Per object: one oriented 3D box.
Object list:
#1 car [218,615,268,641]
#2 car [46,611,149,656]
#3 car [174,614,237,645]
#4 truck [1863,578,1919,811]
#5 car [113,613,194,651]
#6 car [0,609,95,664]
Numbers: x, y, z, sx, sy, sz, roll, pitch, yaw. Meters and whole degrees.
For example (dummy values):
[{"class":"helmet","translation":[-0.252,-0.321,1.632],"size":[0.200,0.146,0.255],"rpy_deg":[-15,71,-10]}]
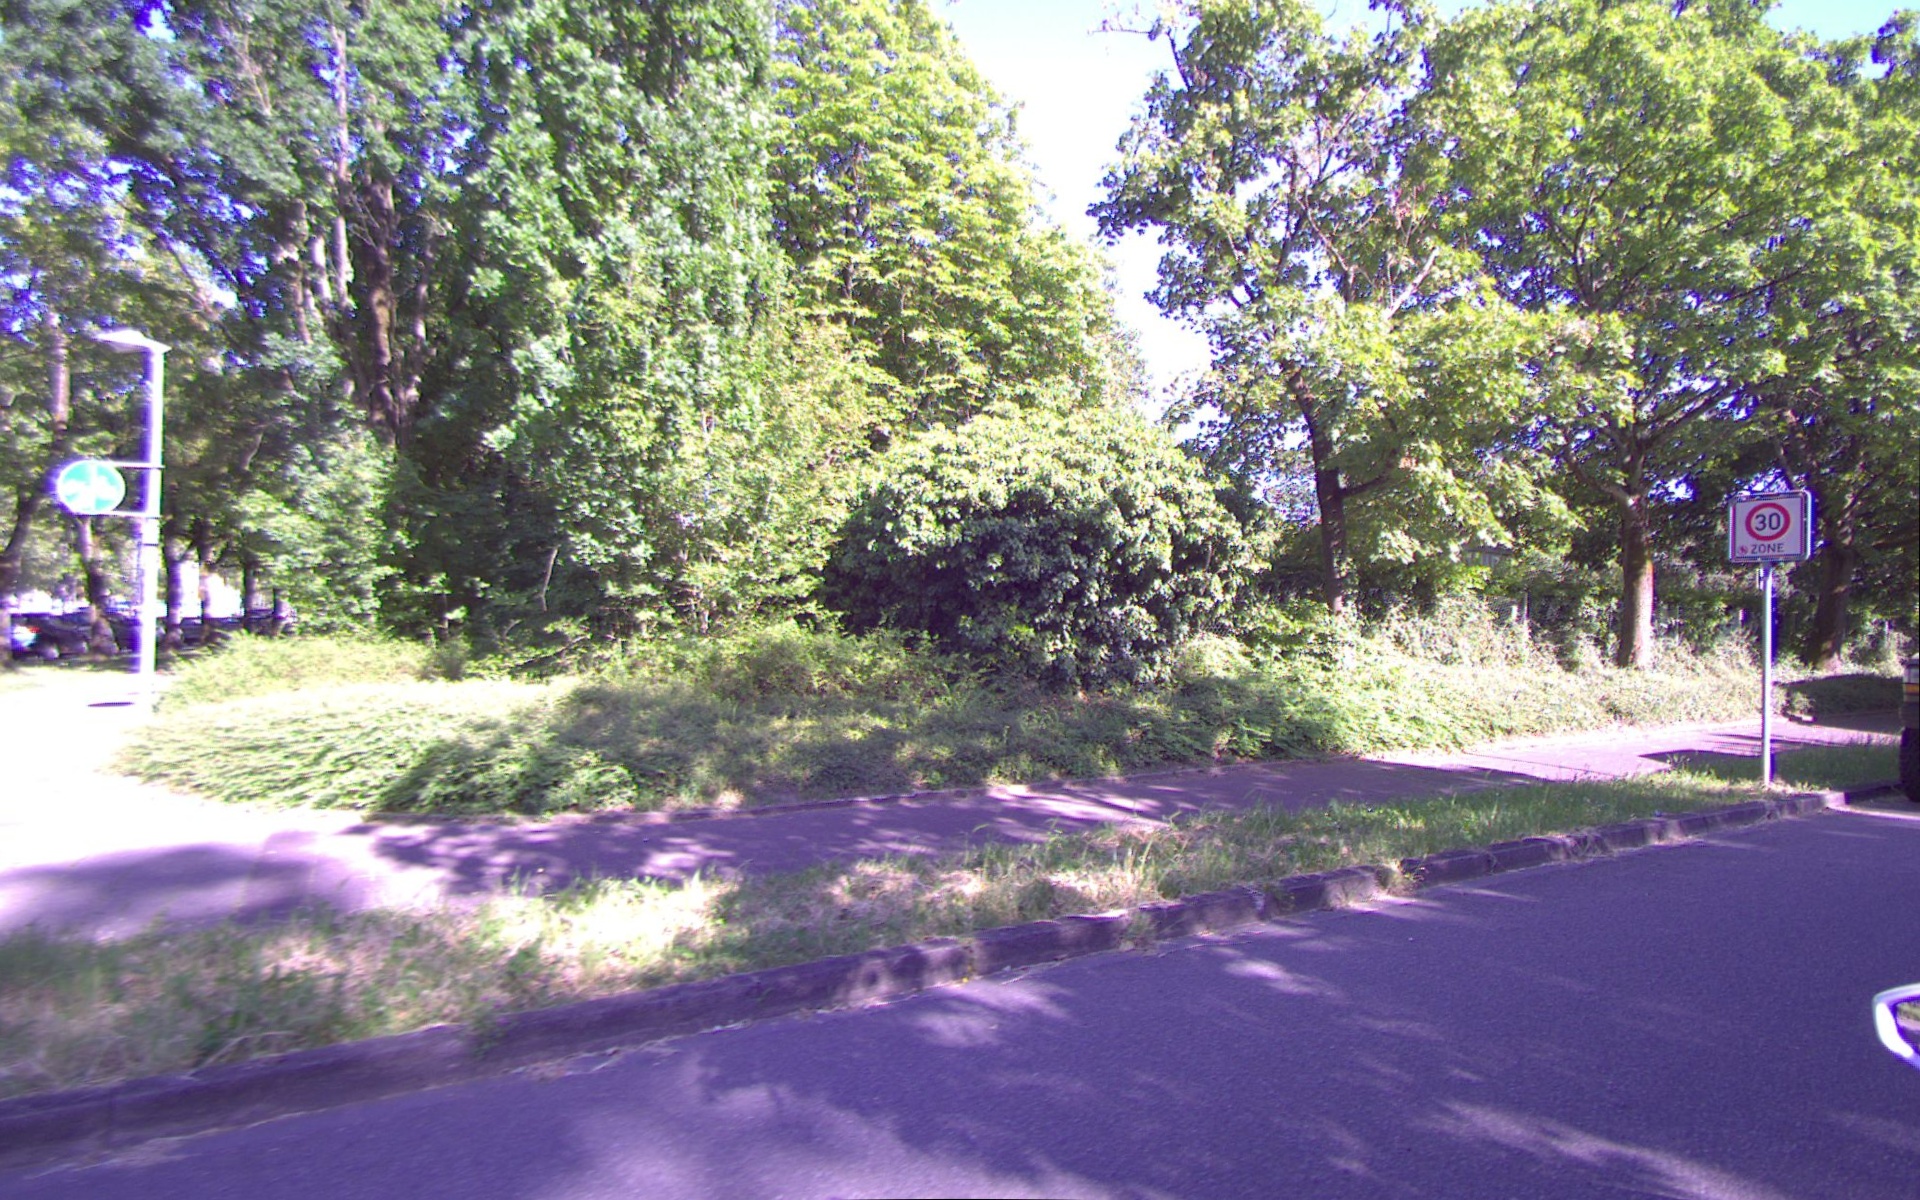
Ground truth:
[{"class":"car","translation":[-43.495,1.678,61.002],"size":[1.776,1.530,3.974],"rpy_deg":[2,-2,-26]},{"class":"car","translation":[-30.866,1.189,36.081],"size":[1.776,1.530,3.974],"rpy_deg":[2,-2,-26]},{"class":"car","translation":[-38.707,1.508,51.621],"size":[1.776,1.530,3.974],"rpy_deg":[2,-2,-26]},{"class":"truck","translation":[11.855,0.931,10.329],"size":[6.574,2.121,2.102],"rpy_deg":[2,-2,-32]},{"class":"car","translation":[-34.115,1.331,42.596],"size":[1.776,1.530,3.974],"rpy_deg":[1,-2,-26]},{"class":"car","translation":[-27.895,1.074,30.239],"size":[1.776,1.530,3.974],"rpy_deg":[2,-2,-26]}]
